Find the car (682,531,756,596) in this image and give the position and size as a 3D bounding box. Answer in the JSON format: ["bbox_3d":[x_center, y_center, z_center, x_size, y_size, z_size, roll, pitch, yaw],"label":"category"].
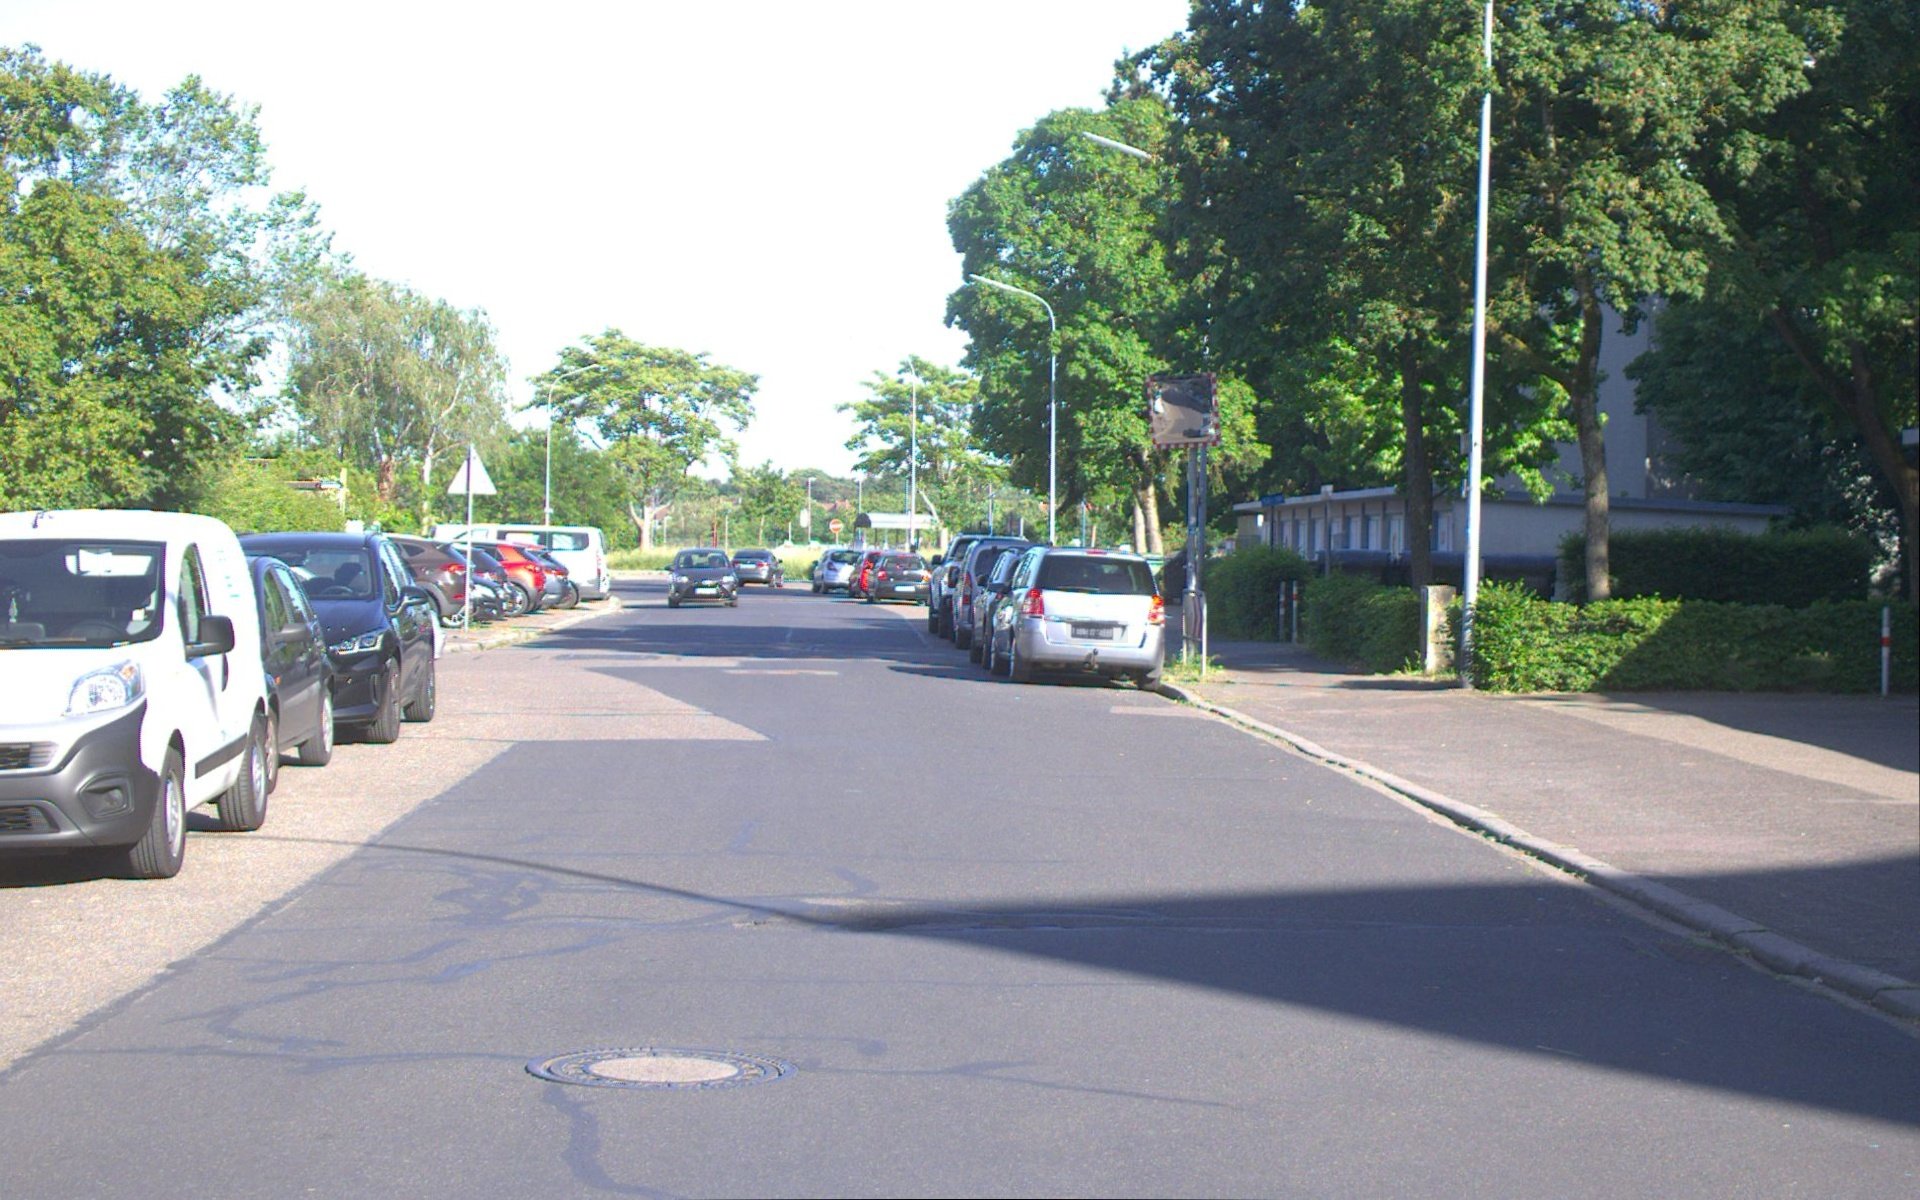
[{"bbox_3d":[-6.193,-0.952,88.017,1.795,1.556,3.952,2,1,-4],"label":"car"}]

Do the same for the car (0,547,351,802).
[{"bbox_3d":[-5.079,0.401,22.082,1.746,1.473,4.153,0,1,-2],"label":"car"}]

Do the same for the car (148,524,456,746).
[{"bbox_3d":[-5.084,0.215,27.077,1.746,1.607,4.308,0,1,-2],"label":"car"}]

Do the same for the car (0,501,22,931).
[{"bbox_3d":[-4.438,0.481,11.510,1.746,1.664,4.379,0,1,-5],"label":"car"}]

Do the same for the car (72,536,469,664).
[{"bbox_3d":[-7.931,-0.019,39.663,4.385,1.431,1.844,0,1,-11],"label":"car"}]

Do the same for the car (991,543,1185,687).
[{"bbox_3d":[1.454,0.140,40.547,1.795,1.556,3.952,2,1,-4],"label":"car"}]

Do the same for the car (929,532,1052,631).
[{"bbox_3d":[0.501,-0.349,61.076,1.795,1.638,3.952,2,1,-4],"label":"car"}]

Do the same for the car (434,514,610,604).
[{"bbox_3d":[-10.466,-0.994,82.259,4.053,1.985,1.802,2,1,-7],"label":"car"}]

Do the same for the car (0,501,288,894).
[{"bbox_3d":[-4.529,0.394,17.053,1.746,1.726,4.006,0,1,-2],"label":"car"}]

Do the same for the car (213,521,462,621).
[{"bbox_3d":[-10.632,-0.502,58.962,4.053,1.556,1.802,2,1,-7],"label":"car"}]

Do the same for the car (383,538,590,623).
[{"bbox_3d":[-9.581,-0.407,69.745,4.053,1.556,1.802,2,1,-7],"label":"car"}]

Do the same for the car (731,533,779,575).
[{"bbox_3d":[-7.862,-1.775,131.721,1.679,1.508,4.105,3,1,-5],"label":"car"}]

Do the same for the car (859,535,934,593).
[{"bbox_3d":[-1.786,-1.014,95.706,1.795,1.543,3.952,2,1,-4],"label":"car"}]

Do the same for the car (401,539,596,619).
[{"bbox_3d":[-9.881,-0.460,73.805,4.053,1.556,1.802,2,1,-7],"label":"car"}]

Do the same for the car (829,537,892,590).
[{"bbox_3d":[-3.284,-1.225,113.057,1.795,1.638,3.952,2,1,-4],"label":"car"}]

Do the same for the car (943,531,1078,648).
[{"bbox_3d":[0.793,-0.198,56.433,1.795,1.780,3.952,2,1,-4],"label":"car"}]

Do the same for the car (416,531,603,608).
[{"bbox_3d":[-10.065,-0.695,76.901,4.053,1.556,1.802,2,1,-7],"label":"car"}]

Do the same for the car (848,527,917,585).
[{"bbox_3d":[-2.339,-1.329,103.031,1.795,1.638,3.952,2,1,-4],"label":"car"}]

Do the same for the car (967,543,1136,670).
[{"bbox_3d":[1.178,0.057,45.893,1.795,1.556,3.952,2,1,-4],"label":"car"}]
